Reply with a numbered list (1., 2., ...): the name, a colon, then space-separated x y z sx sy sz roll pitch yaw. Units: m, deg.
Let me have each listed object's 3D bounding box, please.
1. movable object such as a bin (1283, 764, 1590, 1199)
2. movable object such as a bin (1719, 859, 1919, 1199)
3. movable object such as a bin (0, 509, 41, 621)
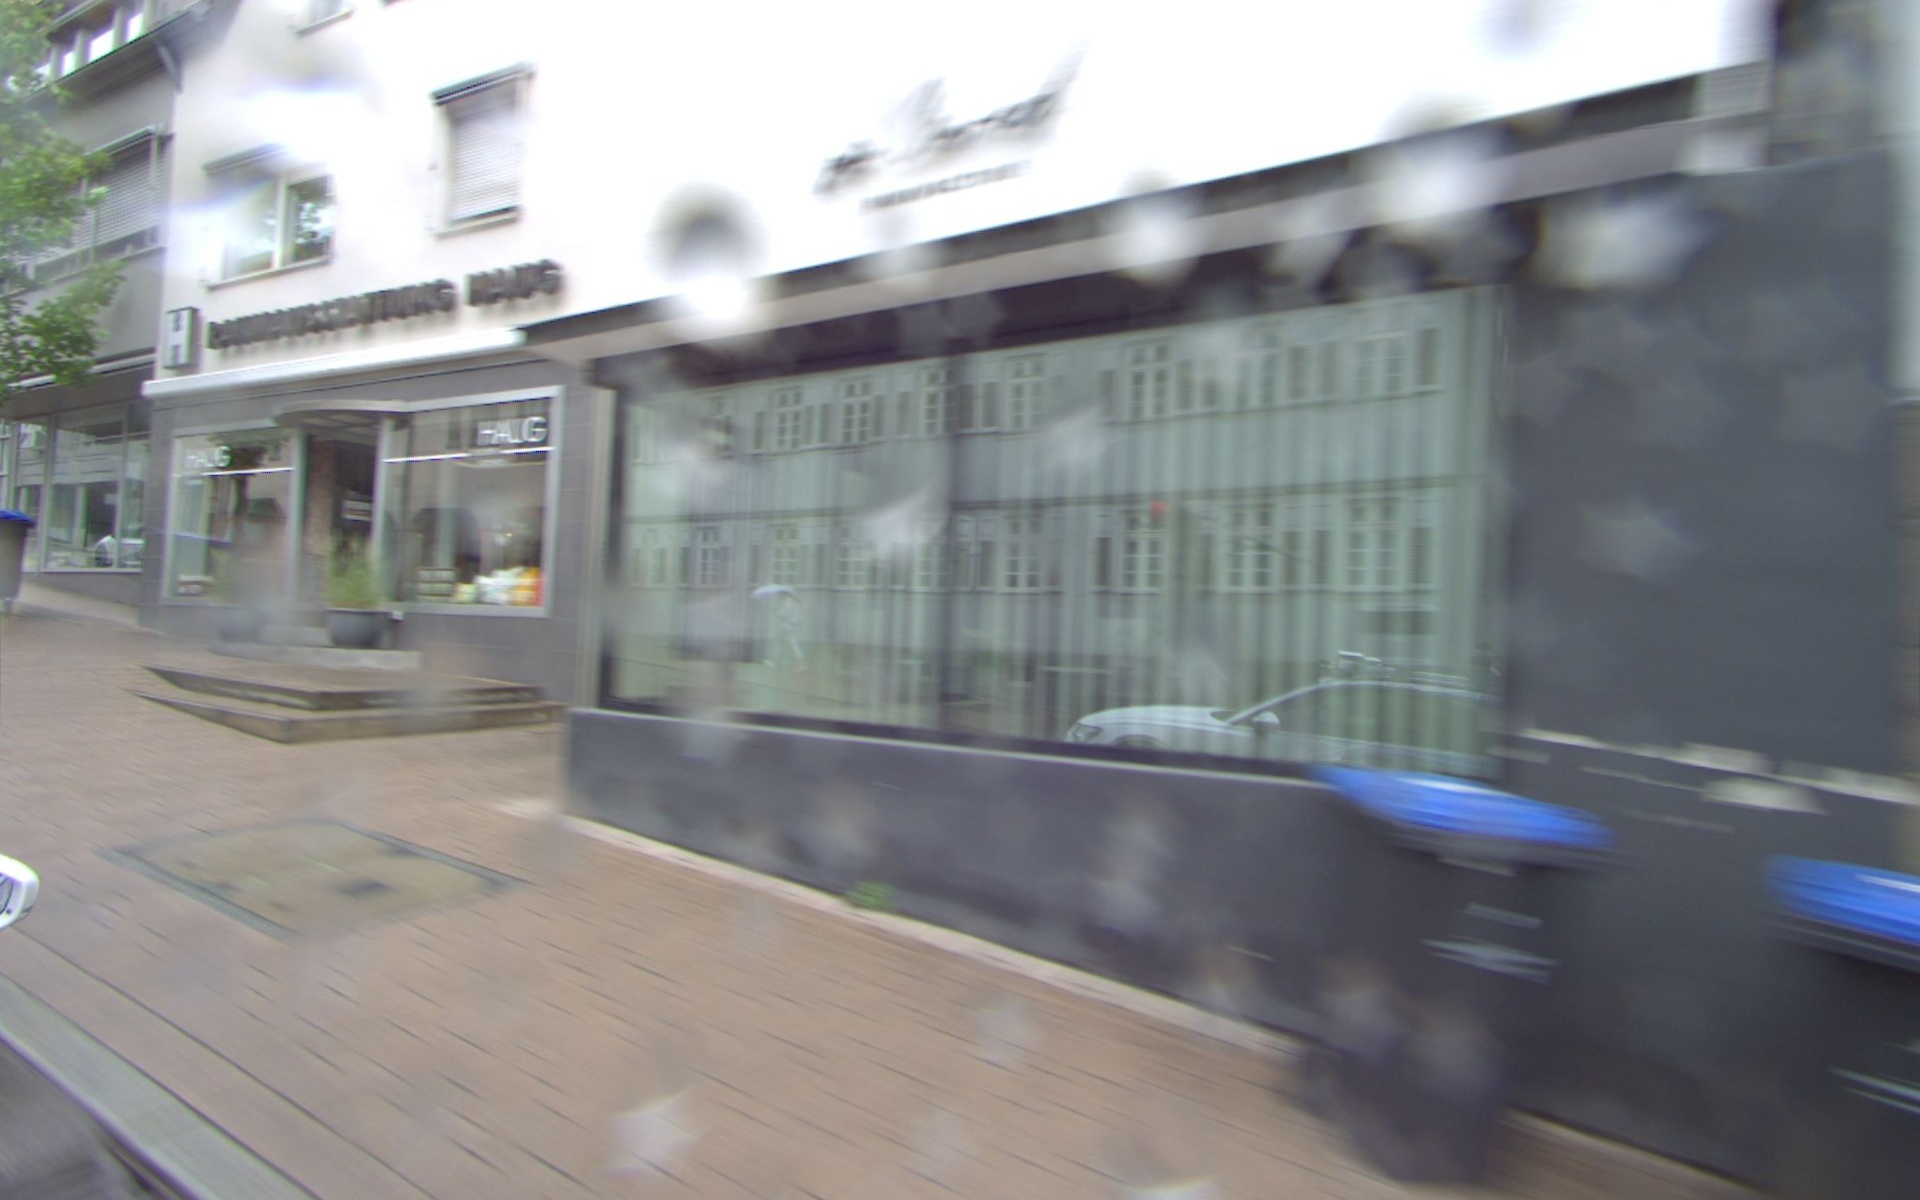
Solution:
1. movable object such as a bin: 1.337 1.055 2.905 0.461 1.041 0.569 5 2 -11
2. movable object such as a bin: 2.093 1.205 2.272 0.468 1.041 0.595 6 2 31
3. movable object such as a bin: -12.396 -0.497 12.397 1.153 1.352 1.236 6 1 31
